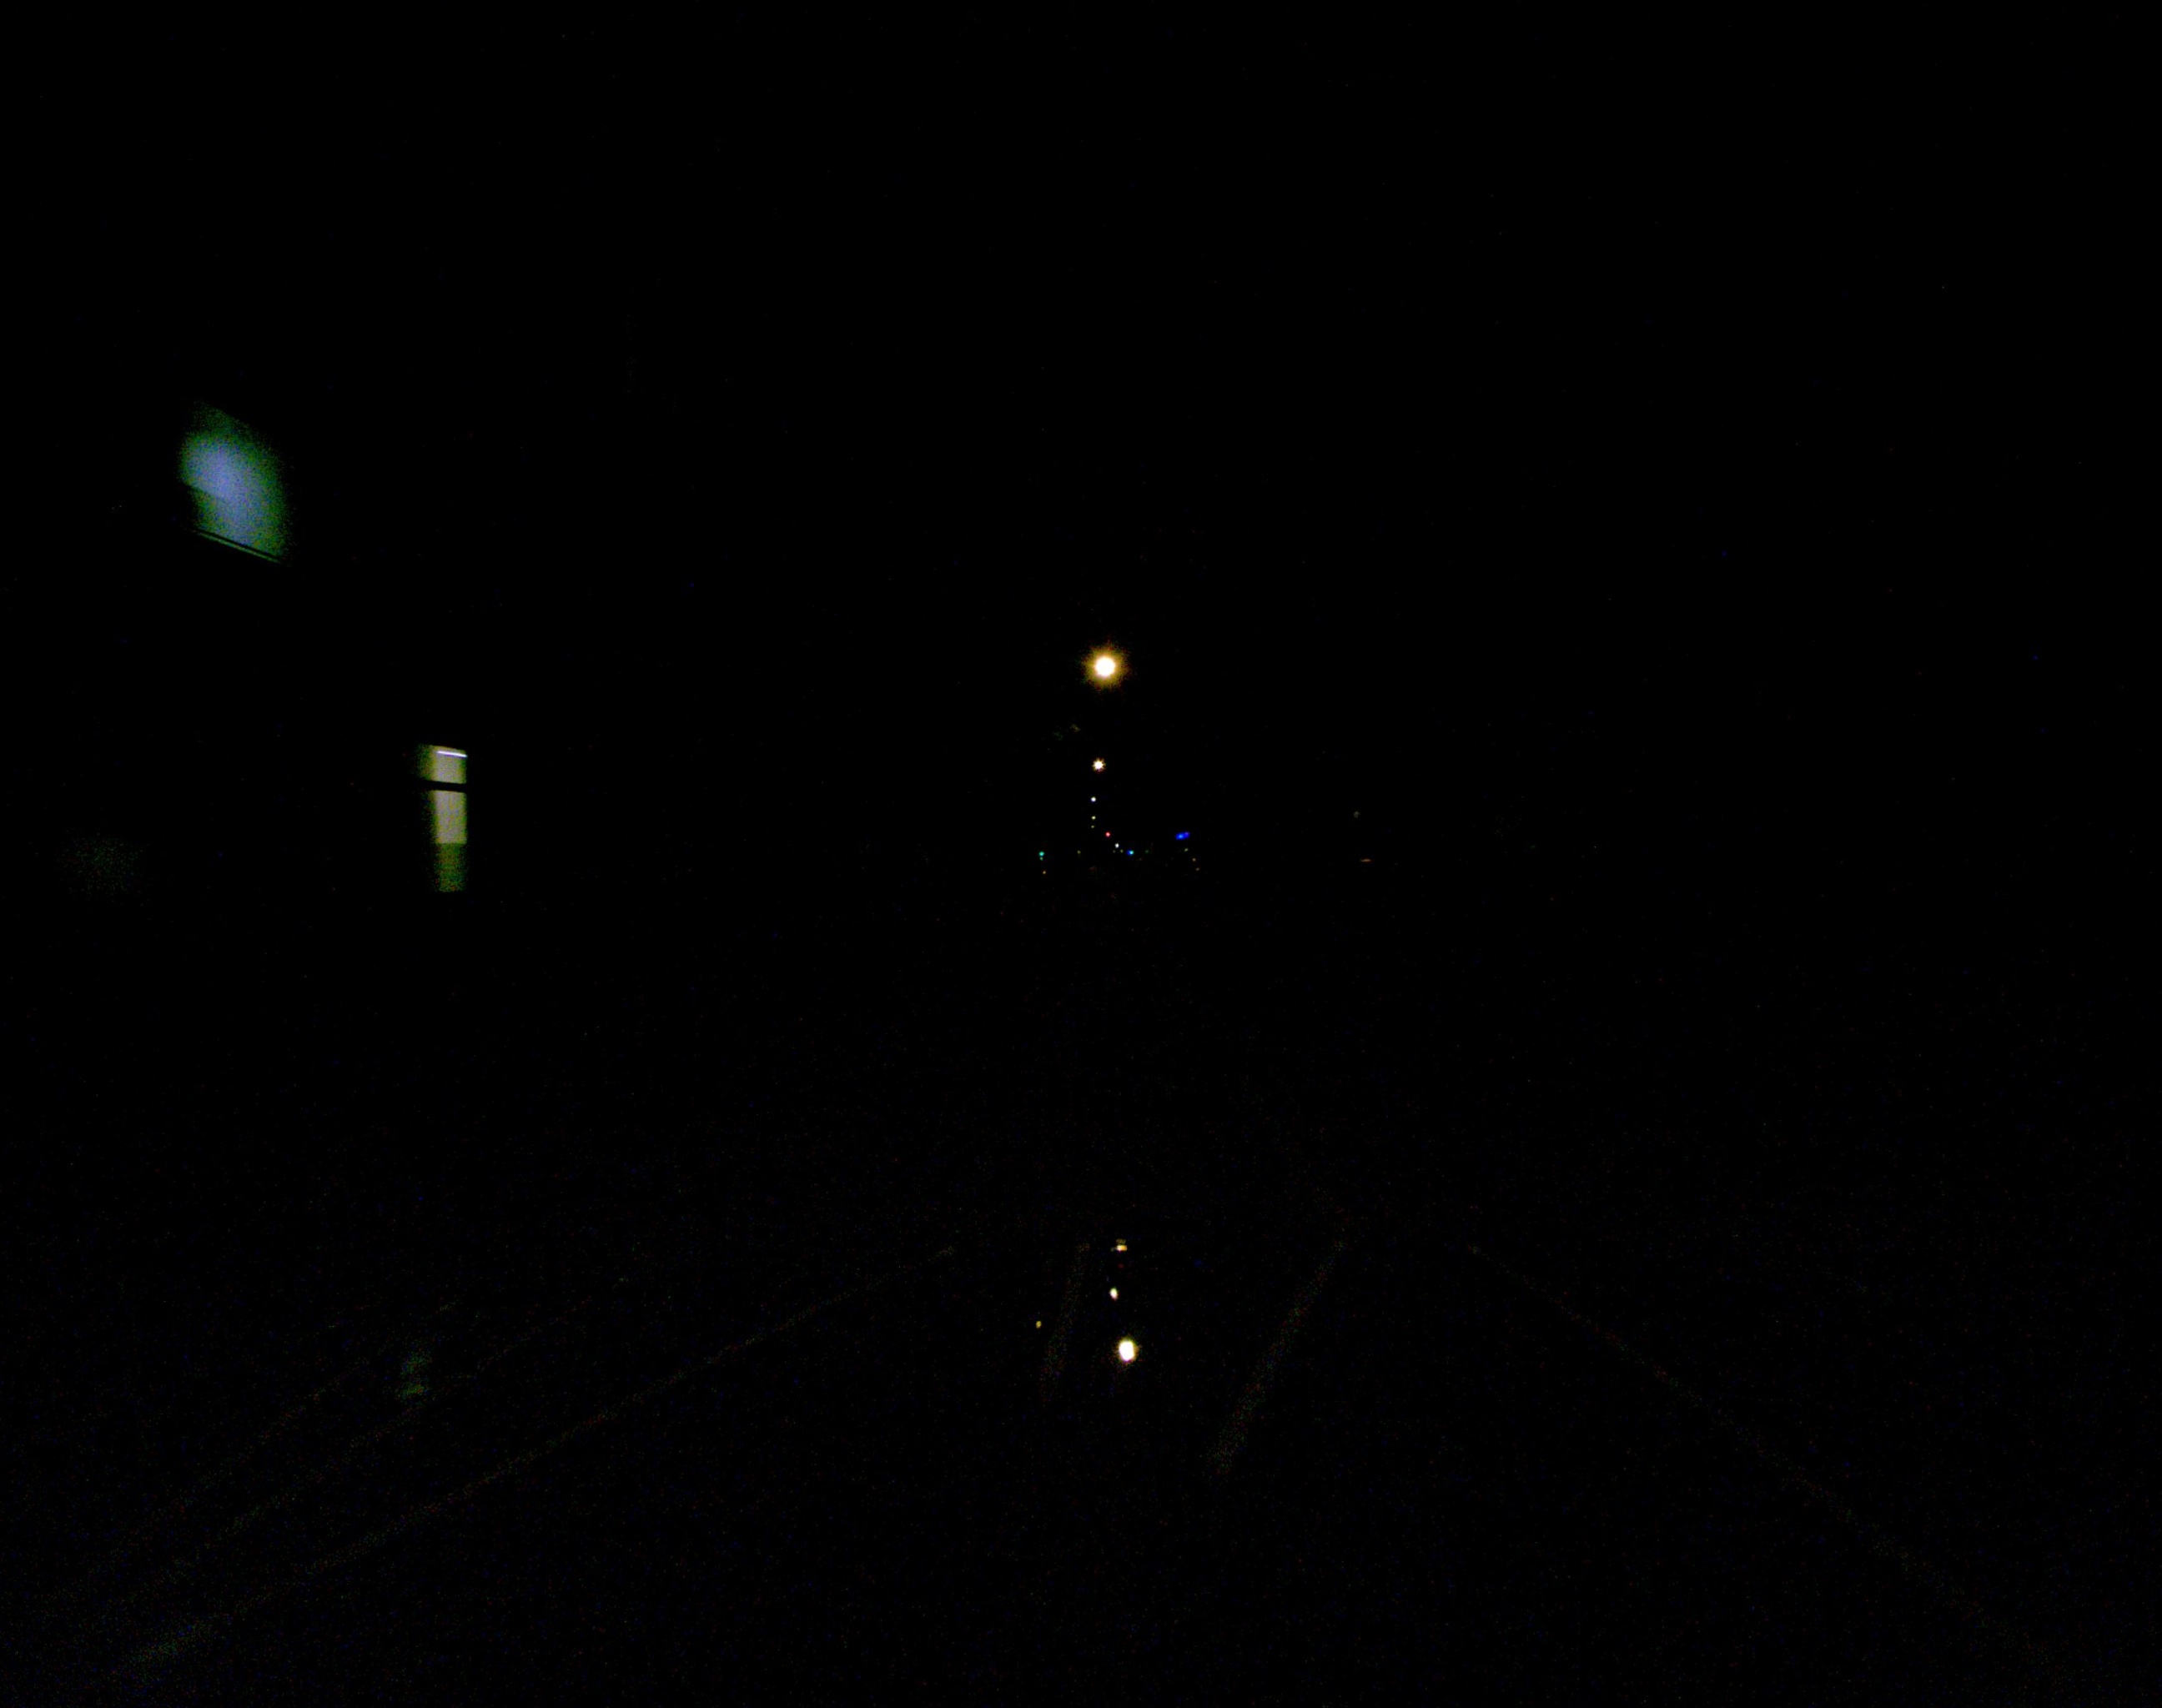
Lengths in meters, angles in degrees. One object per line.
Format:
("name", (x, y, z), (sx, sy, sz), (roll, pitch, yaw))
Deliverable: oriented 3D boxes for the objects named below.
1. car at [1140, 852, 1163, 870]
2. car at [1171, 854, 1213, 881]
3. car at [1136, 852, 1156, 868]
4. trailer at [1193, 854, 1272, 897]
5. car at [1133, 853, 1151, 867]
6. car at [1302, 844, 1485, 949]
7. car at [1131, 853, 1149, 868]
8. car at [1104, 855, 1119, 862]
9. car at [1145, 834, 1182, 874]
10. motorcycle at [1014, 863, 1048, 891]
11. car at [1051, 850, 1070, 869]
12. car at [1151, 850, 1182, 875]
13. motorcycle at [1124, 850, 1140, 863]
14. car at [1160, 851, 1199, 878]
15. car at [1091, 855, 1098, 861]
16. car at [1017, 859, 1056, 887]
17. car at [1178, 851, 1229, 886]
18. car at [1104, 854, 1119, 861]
("car", (6.412, 0.607, 69.533), (1.649, 1.496, 3.861), (-4, 0, 1))
("car", (6.201, 0.721, 42.922), (1.709, 1.403, 4.633), (-2, 0, 0))
("car", (6.473, 0.605, 75.936), (1.551, 1.447, 3.368), (-4, 0, 0))
("trailer", (5.783, 0.762, 29.794), (2.115, 1.327, 5.435), (-4, 0, 2))
("car", (6.554, 0.639, 81.990), (1.448, 1.421, 3.903), (-4, 0, 0))
("car", (5.689, 0.694, 14.443), (1.826, 1.589, 4.073), (-4, 0, 2))
("car", (6.648, 0.700, 86.451), (1.646, 1.495, 3.903), (-4, 0, 0))
("car", (7.998, 1.208, 196.605), (3.763, 1.577, 1.634), (-1, 1, -3))
("car", (6.331, -0.007, 59.130), (2.184, 2.892, 4.909), (-3, 0, 0))
("motorcycle", (-2.454, 1.088, 36.861), (0.930, 1.276, 2.230), (0, 0, -24))
("car", (-2.277, 0.587, 84.568), (1.956, 1.952, 4.603), (-2, 0, 0))
("car", (5.888, 0.612, 52.751), (1.746, 1.597, 4.117), (-3, -1, 2))
("motorcycle", (6.456, 0.342, 96.304), (1.909, 1.541, 0.638), (-4, 1, -19))
("car", (6.164, 0.611, 47.931), (1.746, 1.597, 4.297), (-2, 0, -1))
("car", (3.781, 1.132, 211.585), (1.936, 1.646, 3.833), (-1, 0, 0))
("car", (-2.438, 1.006, 42.437), (1.672, 1.420, 4.148), (0, 0, 3))
("car", (5.942, 0.681, 37.391), (1.721, 1.493, 4.205), (-4, 0, 0))
("car", (8.125, 0.953, 203.605), (4.055, 1.879, 1.634), (-1, 1, -3))
